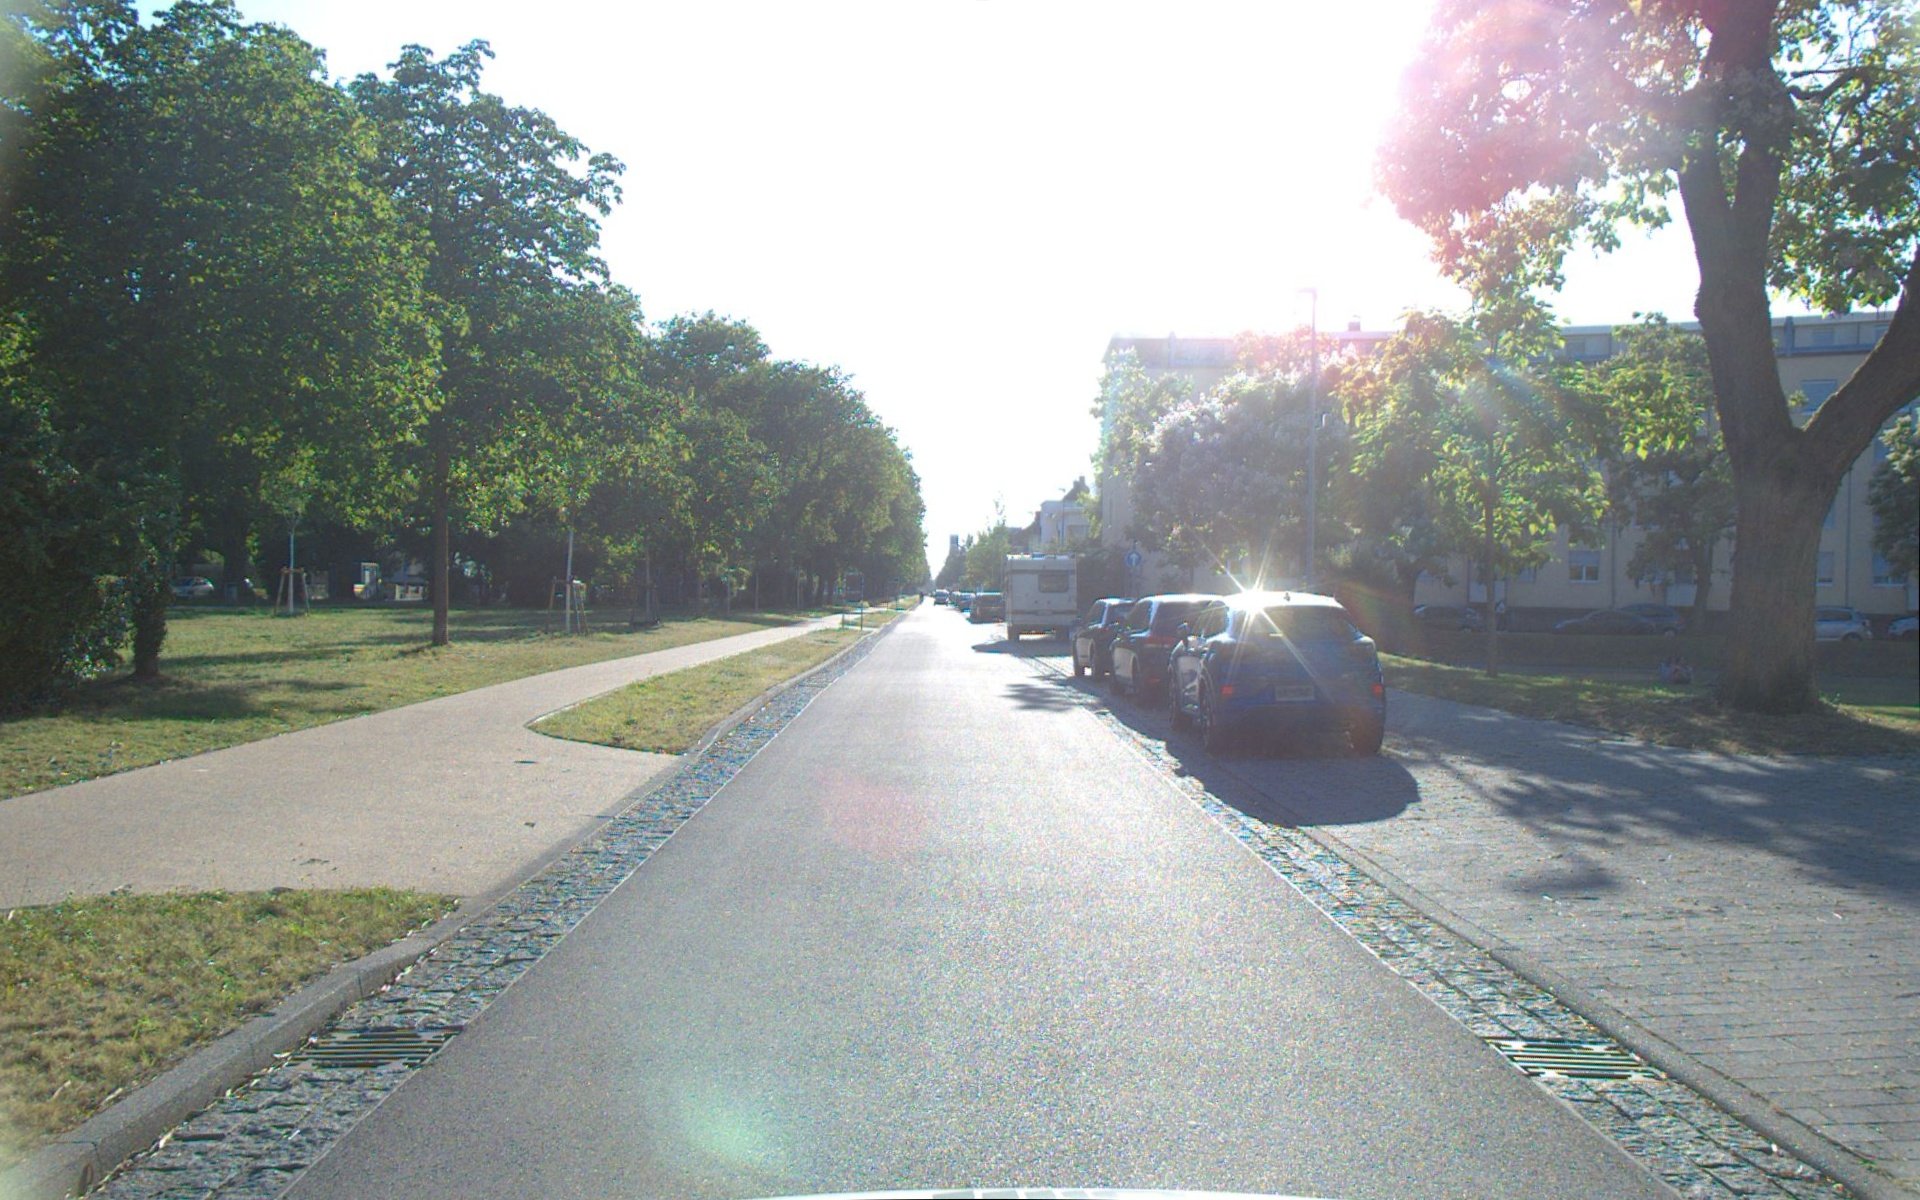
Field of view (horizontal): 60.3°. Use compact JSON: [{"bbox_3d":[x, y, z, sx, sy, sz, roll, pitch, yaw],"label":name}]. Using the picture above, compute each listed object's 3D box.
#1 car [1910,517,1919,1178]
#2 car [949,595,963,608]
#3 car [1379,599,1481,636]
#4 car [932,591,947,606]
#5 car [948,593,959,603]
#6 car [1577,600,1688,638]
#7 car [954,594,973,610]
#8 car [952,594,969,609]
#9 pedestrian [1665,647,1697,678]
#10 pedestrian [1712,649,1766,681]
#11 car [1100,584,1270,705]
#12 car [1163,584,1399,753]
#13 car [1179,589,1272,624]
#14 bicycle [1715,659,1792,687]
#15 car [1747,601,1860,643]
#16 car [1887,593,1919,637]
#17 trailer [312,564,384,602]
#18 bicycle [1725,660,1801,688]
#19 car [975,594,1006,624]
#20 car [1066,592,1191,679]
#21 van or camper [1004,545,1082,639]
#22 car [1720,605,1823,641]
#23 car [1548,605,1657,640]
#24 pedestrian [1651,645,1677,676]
[{"bbox_3d":[3.445,0.667,2.249,1.644,1.770,4.512,1,0,-1],"label":"car"},{"bbox_3d":[-0.435,0.188,197.712,1.593,1.434,4.248,1,0,-1],"label":"car"},{"bbox_3d":[19.834,0.737,69.939,4.106,1.488,1.694,0,0,15],"label":"car"},{"bbox_3d":[-2.438,-0.152,195.295,1.789,1.698,4.248,1,0,-1],"label":"car"},{"bbox_3d":[-0.980,-0.319,249.217,1.593,1.434,4.248,1,0,-1],"label":"car"},{"bbox_3d":[29.840,0.819,73.471,4.416,1.597,1.881,0,0,18],"label":"car"},{"bbox_3d":[0.309,0.166,150.112,1.593,1.434,4.248,1,0,-1],"label":"car"},{"bbox_3d":[0.007,0.164,161.656,1.593,1.434,4.248,1,0,-1],"label":"car"},{"bbox_3d":[21.013,1.819,48.221,0.598,0.827,0.724,2,0,0],"label":"pedestrian"},{"bbox_3d":[21.777,1.818,46.220,0.570,0.827,1.238,2,0,-45],"label":"pedestrian"},{"bbox_3d":[3.145,0.591,23.917,1.697,1.578,4.420,1,0,-2],"label":"car"},{"bbox_3d":[3.273,0.647,17.667,1.696,1.578,4.275,1,0,0],"label":"car"},{"bbox_3d":[12.370,0.297,77.260,4.107,1.557,2.001,1,0,3],"label":"car"},{"bbox_3d":[20.793,1.903,43.407,1.730,0.625,1.811,1,0,23],"label":"bicycle"},{"bbox_3d":[33.137,0.867,65.040,3.909,1.579,1.609,0,0,27],"label":"car"},{"bbox_3d":[40.587,0.630,67.721,4.433,1.776,1.874,0,0,34],"label":"car"},{"bbox_3d":[-42.781,-1.164,115.779,2.409,2.532,7.049,0,0,0],"label":"trailer"},{"bbox_3d":[21.615,1.994,44.581,1.730,0.625,1.811,1,0,23],"label":"bicycle"},{"bbox_3d":[1.764,0.490,96.485,1.593,1.698,4.248,1,0,-1],"label":"car"},{"bbox_3d":[3.026,0.615,30.499,1.594,1.489,4.246,1,0,-4],"label":"car"},{"bbox_3d":[2.704,-0.203,55.108,2.189,2.955,5.671,1,-1,-1],"label":"van or camper"},{"bbox_3d":[34.760,0.969,70.902,3.910,1.478,1.878,0,0,28],"label":"car"},{"bbox_3d":[26.432,0.897,68.176,4.108,1.381,1.693,0,0,20],"label":"car"},{"bbox_3d":[20.112,1.729,47.263,0.463,0.827,0.612,2,0,0],"label":"pedestrian"}]
